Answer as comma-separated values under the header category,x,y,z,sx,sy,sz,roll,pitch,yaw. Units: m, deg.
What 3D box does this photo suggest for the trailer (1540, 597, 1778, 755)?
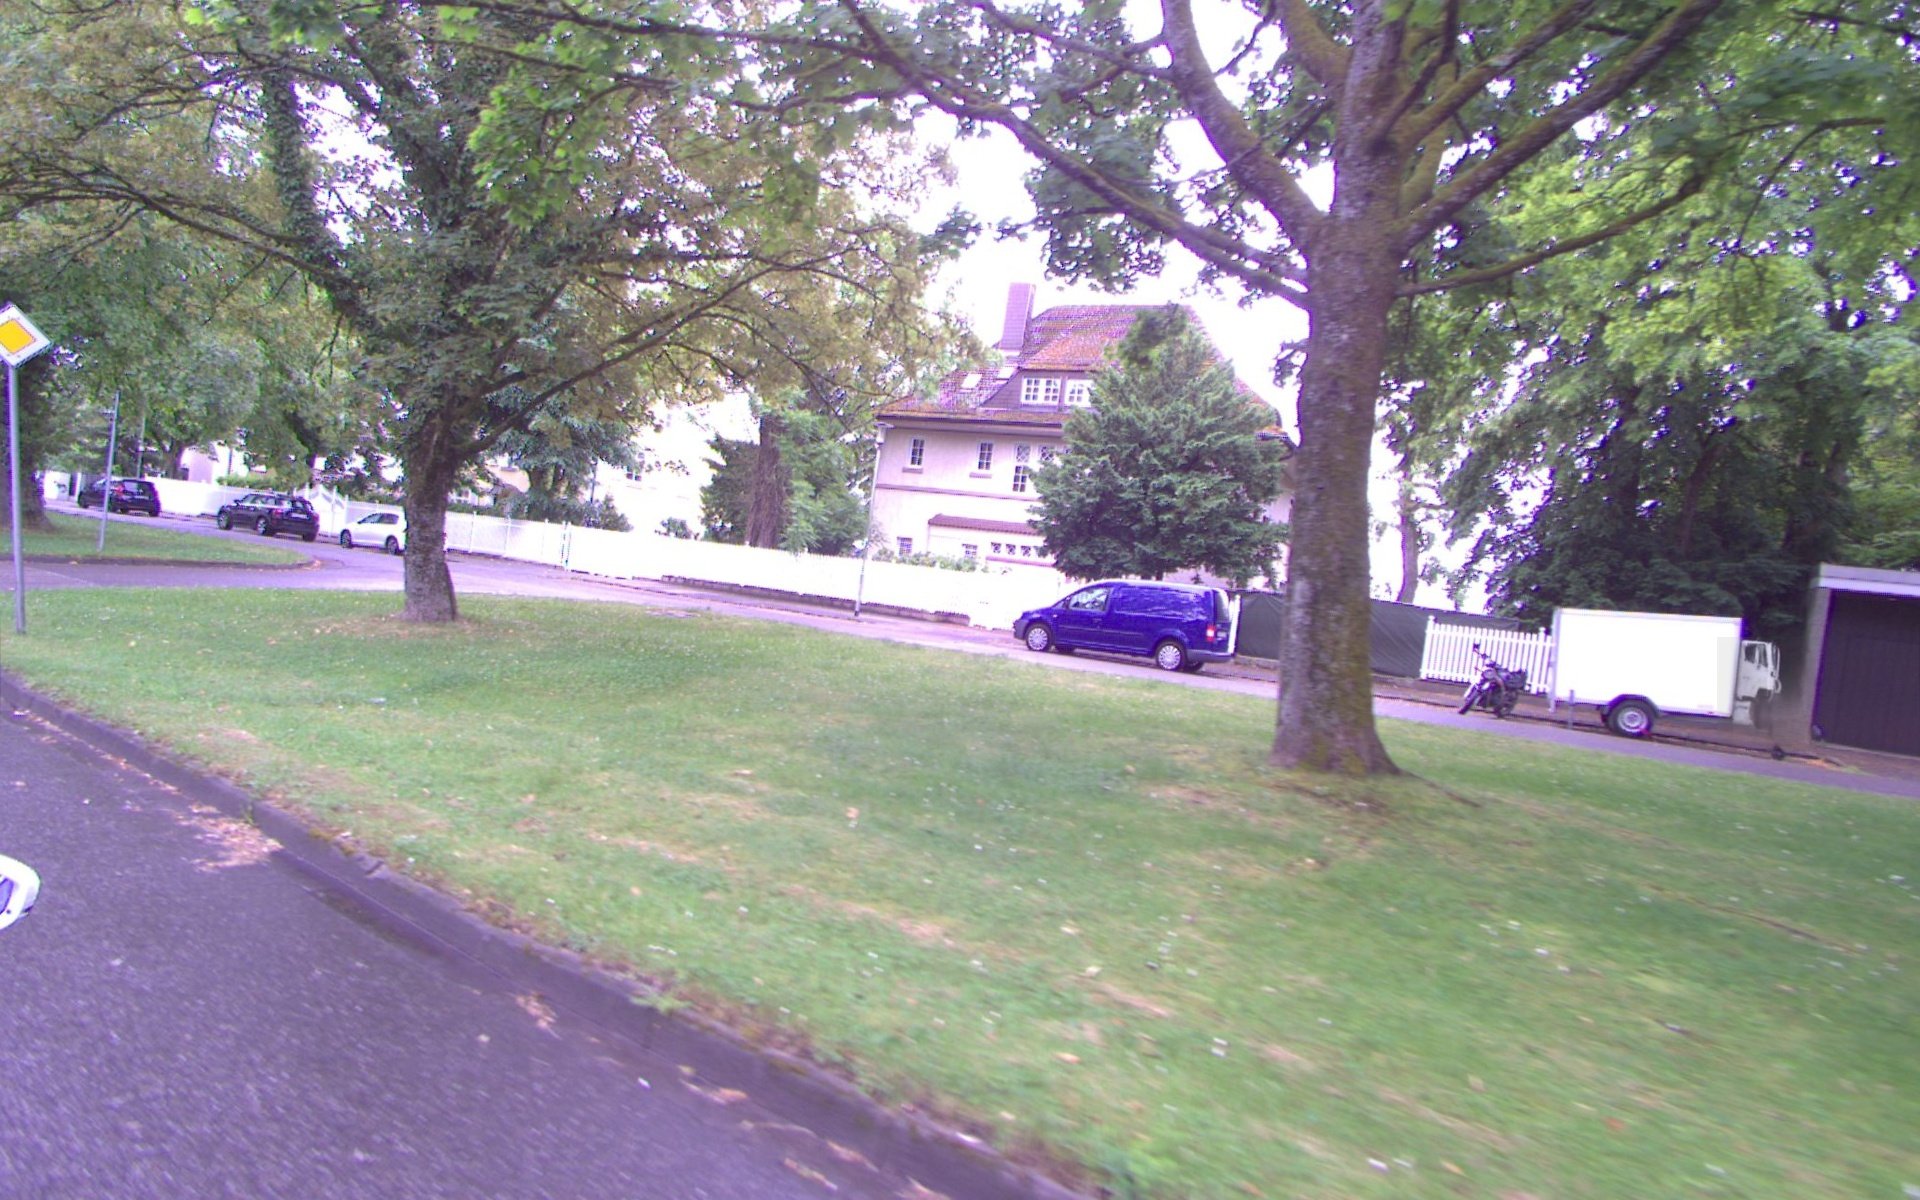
category,x,y,z,sx,sy,sz,roll,pitch,yaw
trailer,11.657,1.219,17.001,2.898,2.182,1.438,7,2,27

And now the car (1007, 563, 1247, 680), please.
category,x,y,z,sx,sy,sz,roll,pitch,yaw
car,3.581,0.408,21.781,4.569,1.833,1.943,8,3,29

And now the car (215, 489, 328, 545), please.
category,x,y,z,sx,sy,sz,roll,pitch,yaw
car,-25.610,-3.096,37.384,4.042,1.550,1.803,8,2,29

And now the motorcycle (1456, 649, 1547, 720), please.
category,x,y,z,sx,sy,sz,roll,pitch,yaw
motorcycle,9.750,1.538,18.094,1.876,1.106,0.651,7,2,-39

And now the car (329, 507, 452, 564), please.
category,x,y,z,sx,sy,sz,roll,pitch,yaw
car,-19.220,-2.179,33.912,3.939,1.428,1.618,8,2,27

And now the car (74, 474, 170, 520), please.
category,x,y,z,sx,sy,sz,roll,pitch,yaw
car,-35.975,-4.422,43.167,4.042,1.430,1.803,8,2,29
